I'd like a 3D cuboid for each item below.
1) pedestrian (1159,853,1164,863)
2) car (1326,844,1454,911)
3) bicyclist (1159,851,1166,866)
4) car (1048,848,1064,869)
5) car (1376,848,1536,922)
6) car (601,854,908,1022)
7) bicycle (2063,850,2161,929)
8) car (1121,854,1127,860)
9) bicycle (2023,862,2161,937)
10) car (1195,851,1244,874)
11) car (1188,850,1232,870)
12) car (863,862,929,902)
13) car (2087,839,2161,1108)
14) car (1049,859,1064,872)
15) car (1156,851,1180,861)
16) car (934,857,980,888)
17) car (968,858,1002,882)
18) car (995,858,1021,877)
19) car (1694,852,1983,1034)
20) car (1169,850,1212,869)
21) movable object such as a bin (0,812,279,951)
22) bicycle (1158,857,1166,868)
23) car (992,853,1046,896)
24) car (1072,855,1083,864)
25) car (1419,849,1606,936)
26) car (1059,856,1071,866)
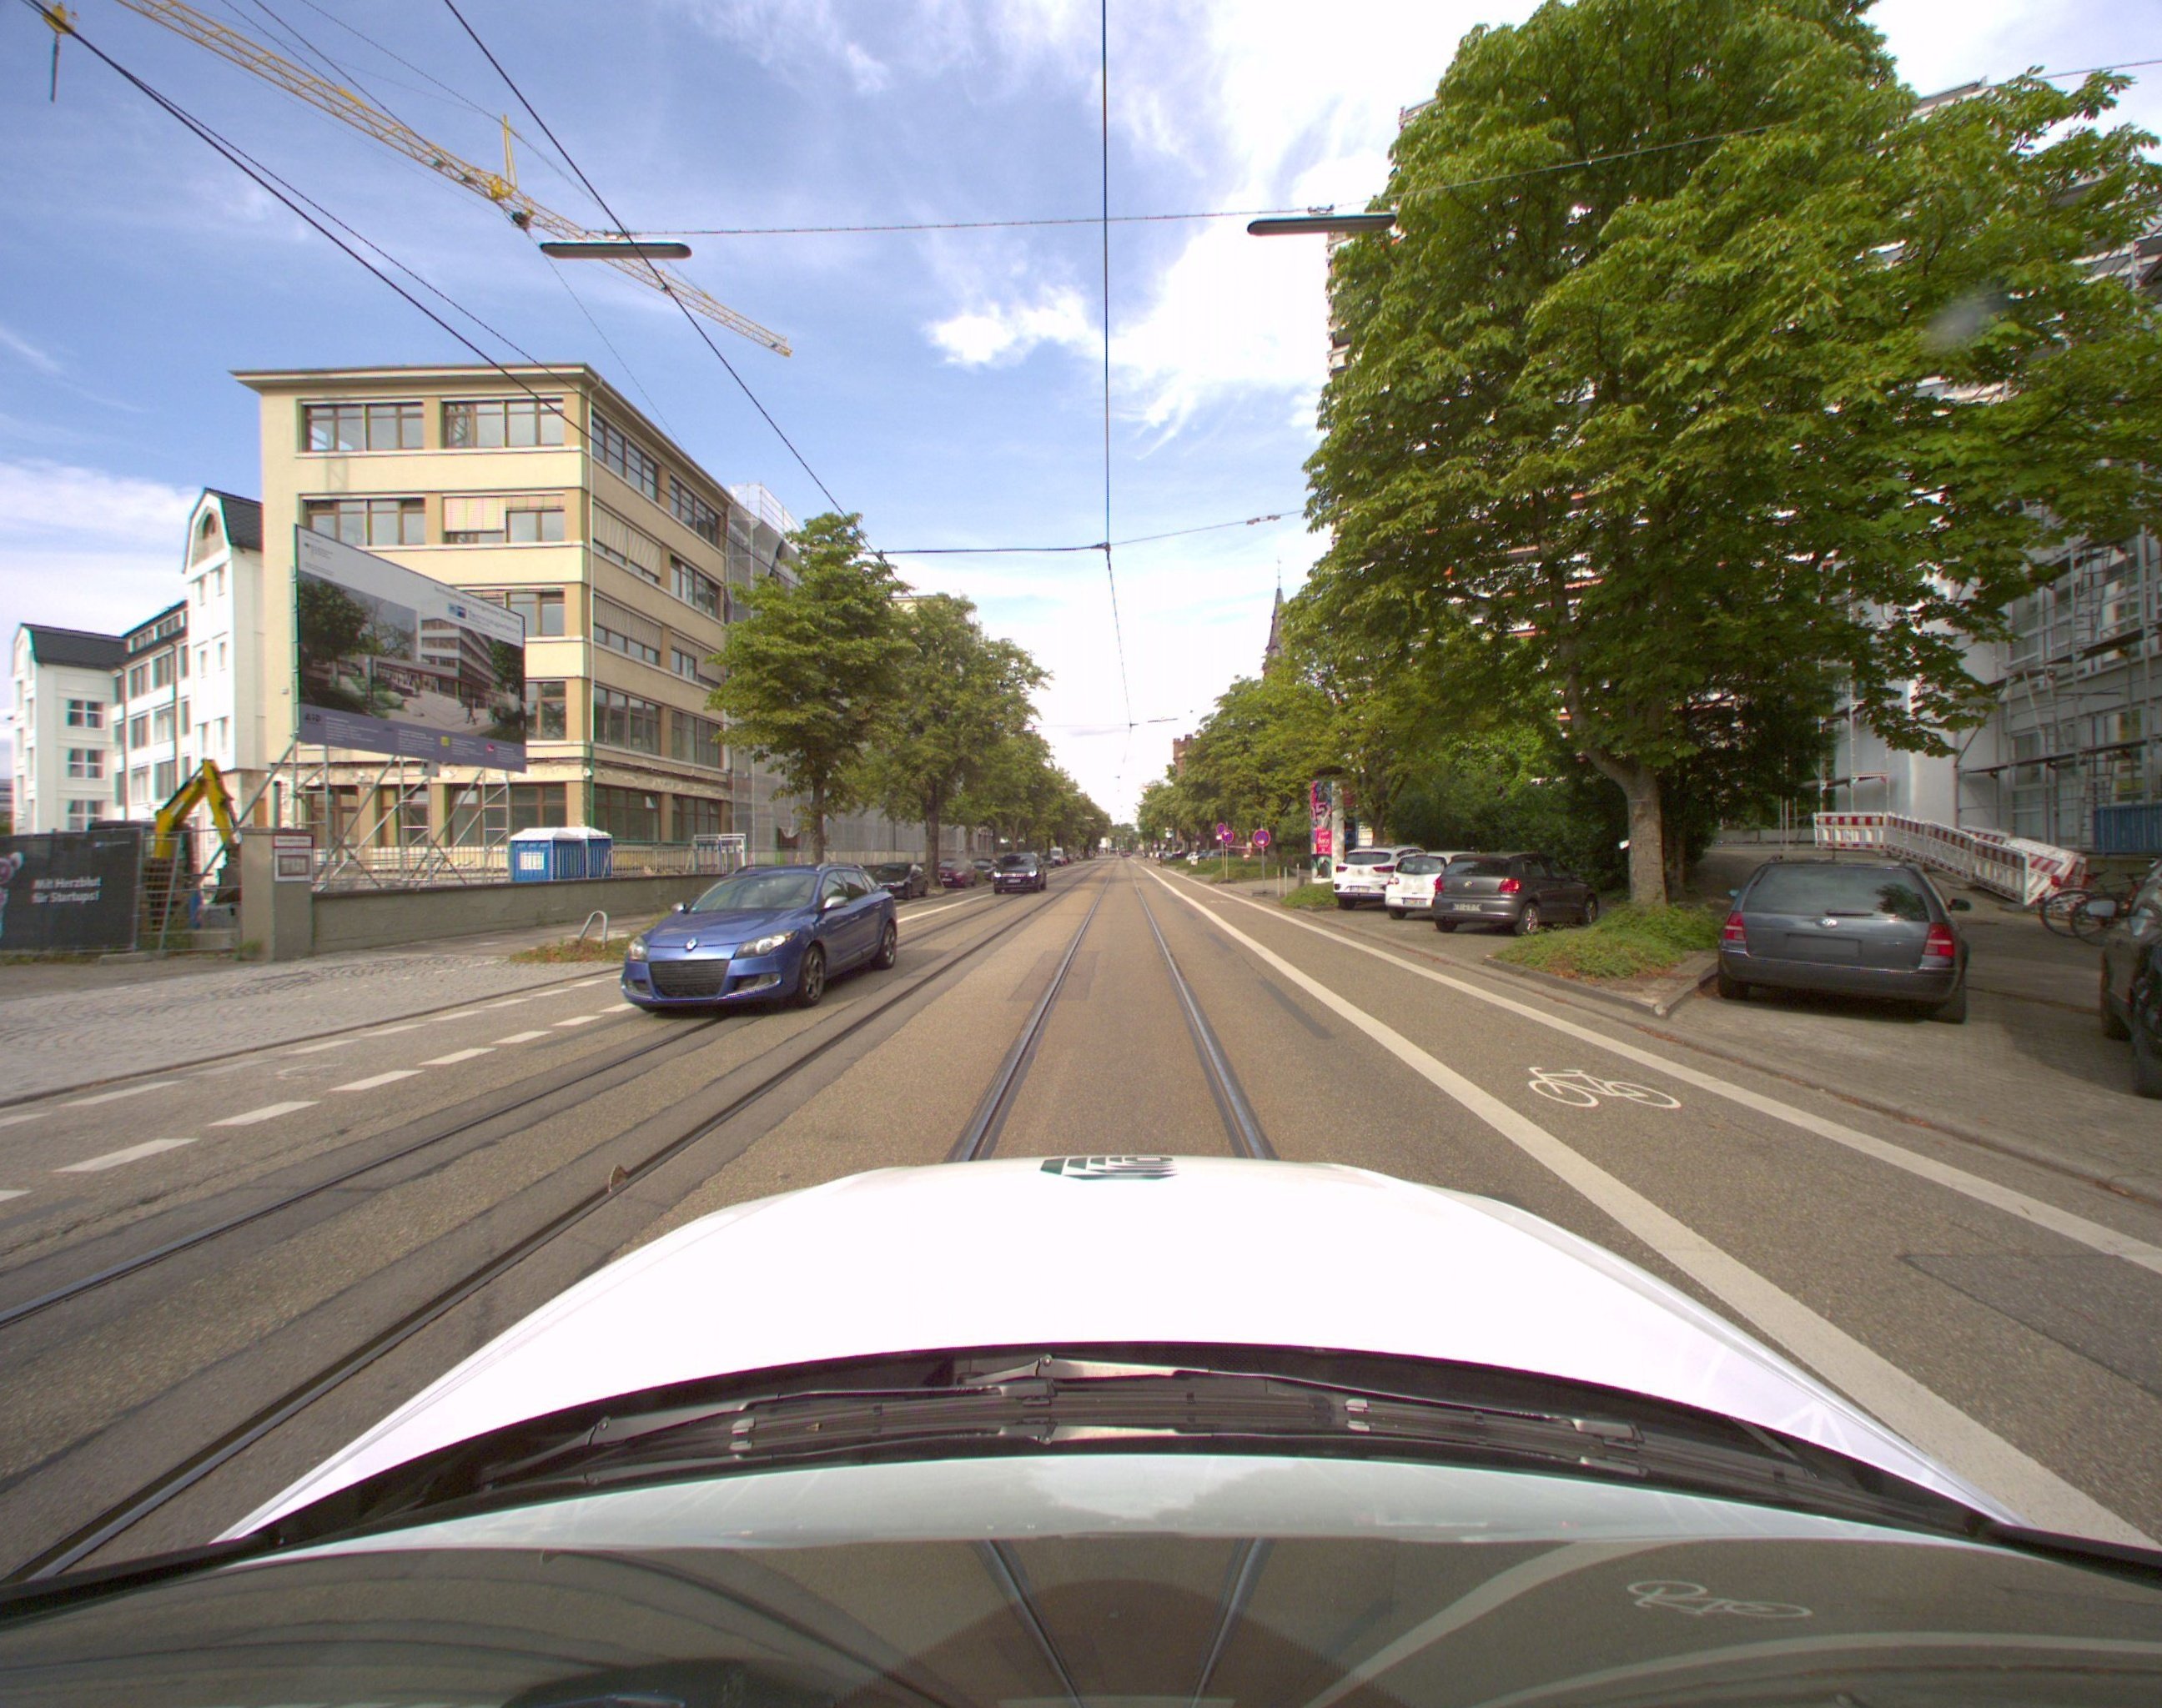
[{"bbox_3d":[14.211,0.646,143.185,0.741,1.790,0.734,-1,-1,18],"label":"pedestrian"},{"bbox_3d":[8.128,0.563,21.280,3.667,1.602,1.662,0,-1,-43],"label":"car"},{"bbox_3d":[7.895,0.460,79.341,0.591,1.459,0.875,-1,0,0],"label":"bicyclist"},{"bbox_3d":[-3.224,0.588,105.629,1.715,2.704,5.470,0,0,1],"label":"car"},{"bbox_3d":[8.356,0.624,18.053,3.663,1.474,1.663,0,-1,-37],"label":"car"},{"bbox_3d":[-3.486,0.776,9.727,1.725,1.496,4.381,-1,0,2],"label":"car"},{"bbox_3d":[14.774,0.474,10.920,1.952,1.043,0.598,-1,0,30],"label":"bicycle"},{"bbox_3d":[13.557,0.892,258.547,1.788,1.824,4.681,0,0,2],"label":"car"},{"bbox_3d":[15.145,0.640,11.752,1.952,1.043,0.598,-1,0,39],"label":"bicycle"},{"bbox_3d":[10.264,0.607,60.298,3.667,1.602,1.662,0,-1,-43],"label":"car"},{"bbox_3d":[10.615,0.457,67.094,3.667,1.602,1.662,0,-1,-43],"label":"car"},{"bbox_3d":[-7.044,1.029,31.431,1.585,1.402,3.963,0,0,1],"label":"car"},{"bbox_3d":[7.886,0.663,5.280,3.435,1.537,1.577,-1,0,-41],"label":"car"},{"bbox_3d":[-2.754,1.296,92.118,1.585,1.402,3.963,0,0,1],"label":"car"},{"bbox_3d":[15.334,0.428,143.378,3.978,1.693,1.998,-1,0,-3],"label":"car"},{"bbox_3d":[-6.354,0.928,42.080,1.629,1.496,3.964,0,0,2],"label":"car"},{"bbox_3d":[-6.012,0.969,51.280,1.585,1.402,3.963,0,0,1],"label":"car"},{"bbox_3d":[-5.506,1.013,61.587,1.585,1.402,3.963,0,0,1],"label":"car"},{"bbox_3d":[7.897,0.700,8.468,4.194,1.415,1.794,0,-1,-44],"label":"car"},{"bbox_3d":[9.315,0.455,69.282,3.667,1.602,1.662,0,-1,-43],"label":"car"},{"bbox_3d":[-18.300,0.506,15.880,3.030,2.443,2.506,-1,-1,12],"label":"movable object such as a bin"},{"bbox_3d":[7.894,0.820,79.338,0.590,1.043,1.978,-1,0,1],"label":"bicycle"},{"bbox_3d":[-2.521,0.789,34.126,1.725,1.628,4.380,-2,0,2],"label":"car"},{"bbox_3d":[-0.578,0.913,131.010,1.584,1.402,3.552,0,0,3],"label":"car"},{"bbox_3d":[8.071,0.639,15.131,3.663,1.419,1.663,0,-1,-37],"label":"car"},{"bbox_3d":[-2.269,0.993,118.096,1.585,1.402,3.963,0,0,1],"label":"car"}]
